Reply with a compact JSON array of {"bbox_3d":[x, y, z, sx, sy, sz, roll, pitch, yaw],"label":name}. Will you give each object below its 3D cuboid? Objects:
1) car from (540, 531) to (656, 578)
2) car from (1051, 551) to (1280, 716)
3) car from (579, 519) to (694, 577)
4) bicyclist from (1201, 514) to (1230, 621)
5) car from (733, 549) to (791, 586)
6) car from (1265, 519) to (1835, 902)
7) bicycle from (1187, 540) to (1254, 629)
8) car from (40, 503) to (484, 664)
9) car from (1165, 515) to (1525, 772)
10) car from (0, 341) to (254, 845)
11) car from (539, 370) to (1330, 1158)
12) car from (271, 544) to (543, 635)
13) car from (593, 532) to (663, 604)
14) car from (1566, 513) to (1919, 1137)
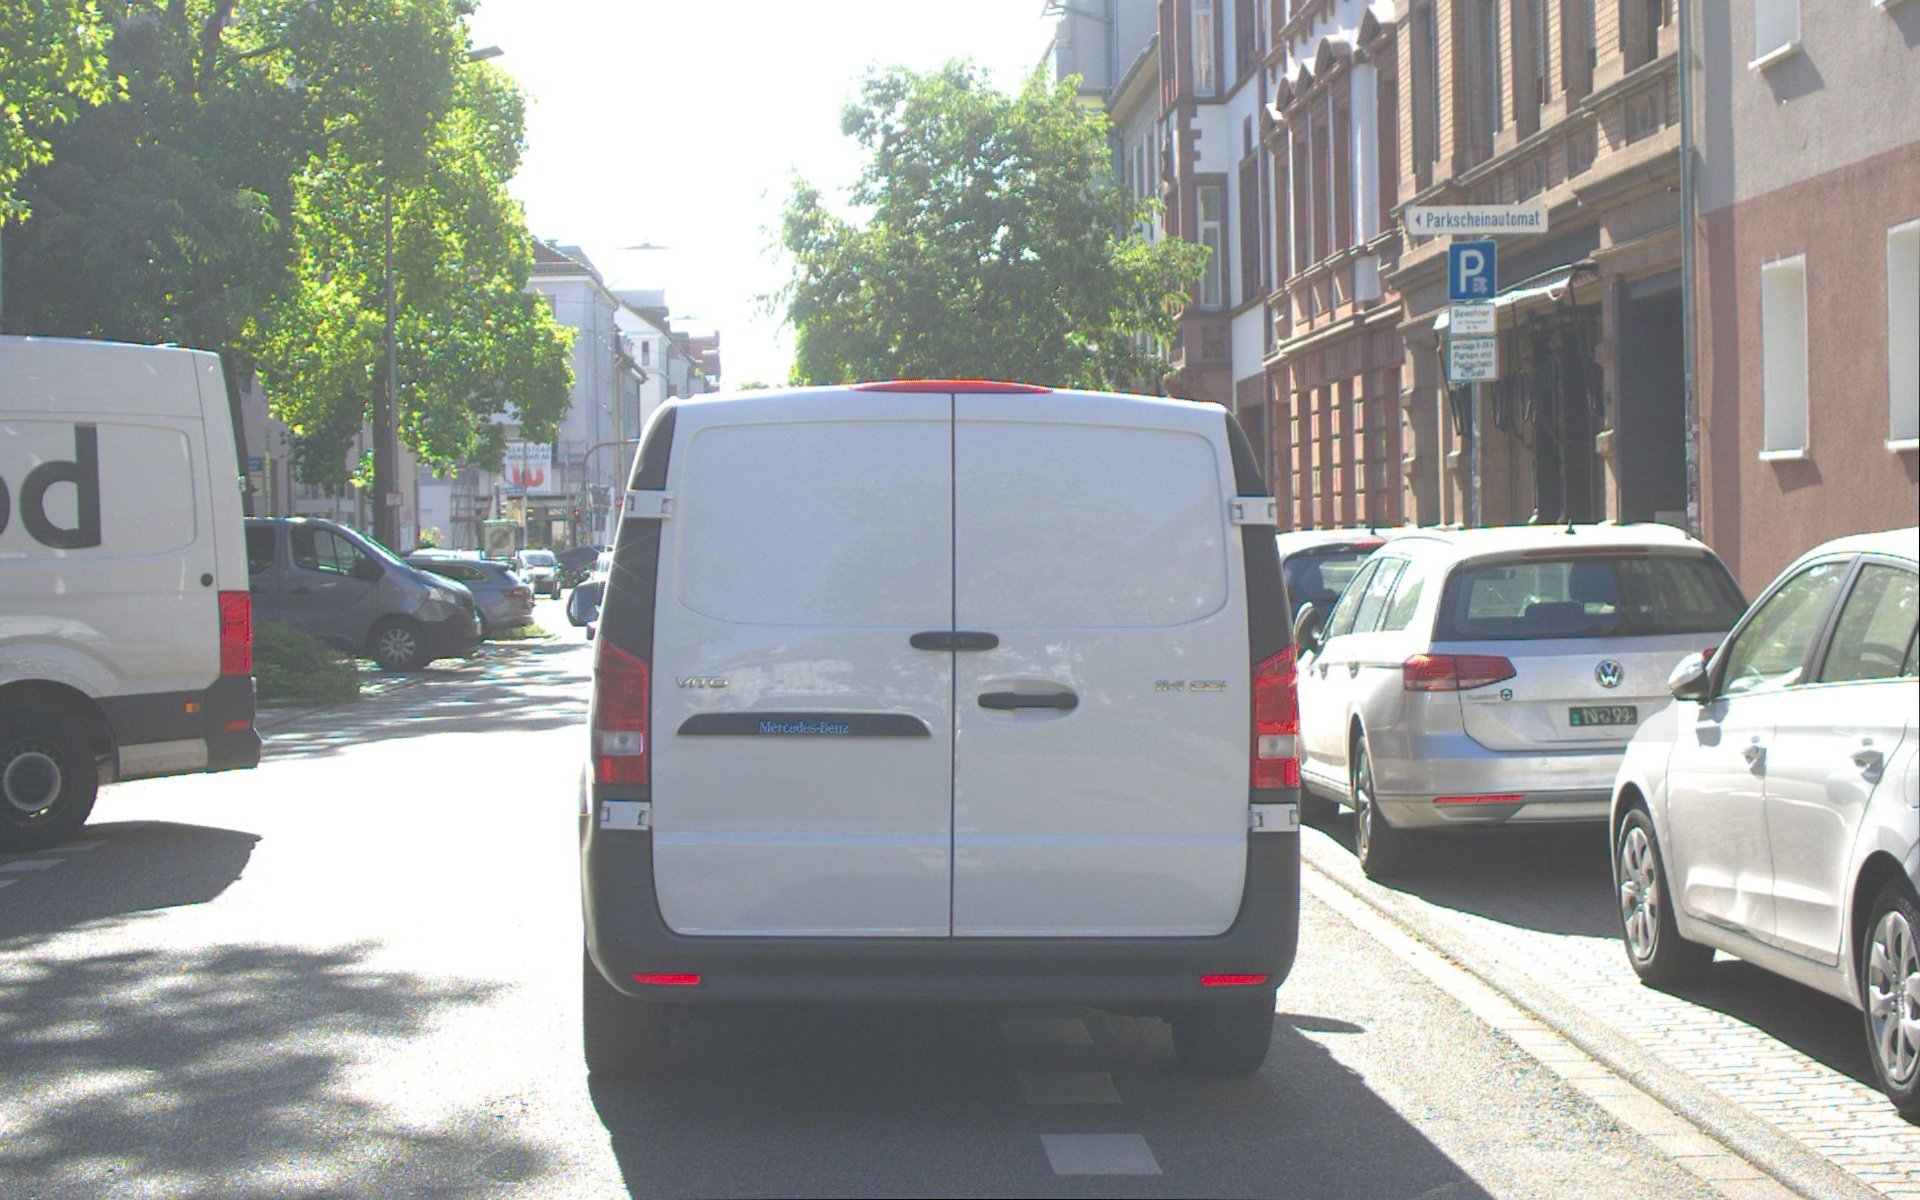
[{"bbox_3d":[-12.777,-1.611,121.670,3.986,1.634,2.000,-1,1,-4],"label":"car"},{"bbox_3d":[1.918,0.271,33.172,1.738,1.446,4.001,-1,1,-3],"label":"car"},{"bbox_3d":[-11.670,-1.897,124.372,3.986,2.007,2.000,-1,1,-2],"label":"car"},{"bbox_3d":[3.555,-0.456,47.775,0.361,1.472,0.531,0,1,0],"label":"bicyclist"},{"bbox_3d":[-5.603,-0.930,97.298,1.609,0.963,4.001,-1,1,-3],"label":"car"},{"bbox_3d":[2.535,0.394,15.865,1.785,1.455,4.517,-2,1,0],"label":"car"},{"bbox_3d":[3.602,-0.208,47.666,0.536,1.145,2.124,-8,0,-2],"label":"bicycle"},{"bbox_3d":[-8.832,-0.225,43.872,5.292,1.967,2.016,0,1,-3],"label":"car"},{"bbox_3d":[2.365,0.223,21.974,1.709,1.475,3.711,-1,1,-3],"label":"car"},{"bbox_3d":[-6.888,0.008,16.465,6.583,2.465,2.000,-2,1,-36],"label":"car"},{"bbox_3d":[-0.224,0.348,10.822,1.920,1.907,4.889,0,1,-4],"label":"car"},{"bbox_3d":[-9.306,-0.183,58.042,4.305,1.455,1.762,1,1,0],"label":"car"},{"bbox_3d":[-7.623,-0.758,78.748,1.530,1.590,4.001,-1,1,-6],"label":"car"},{"bbox_3d":[3.068,0.496,9.814,1.731,1.481,3.795,-3,1,-4],"label":"car"}]
